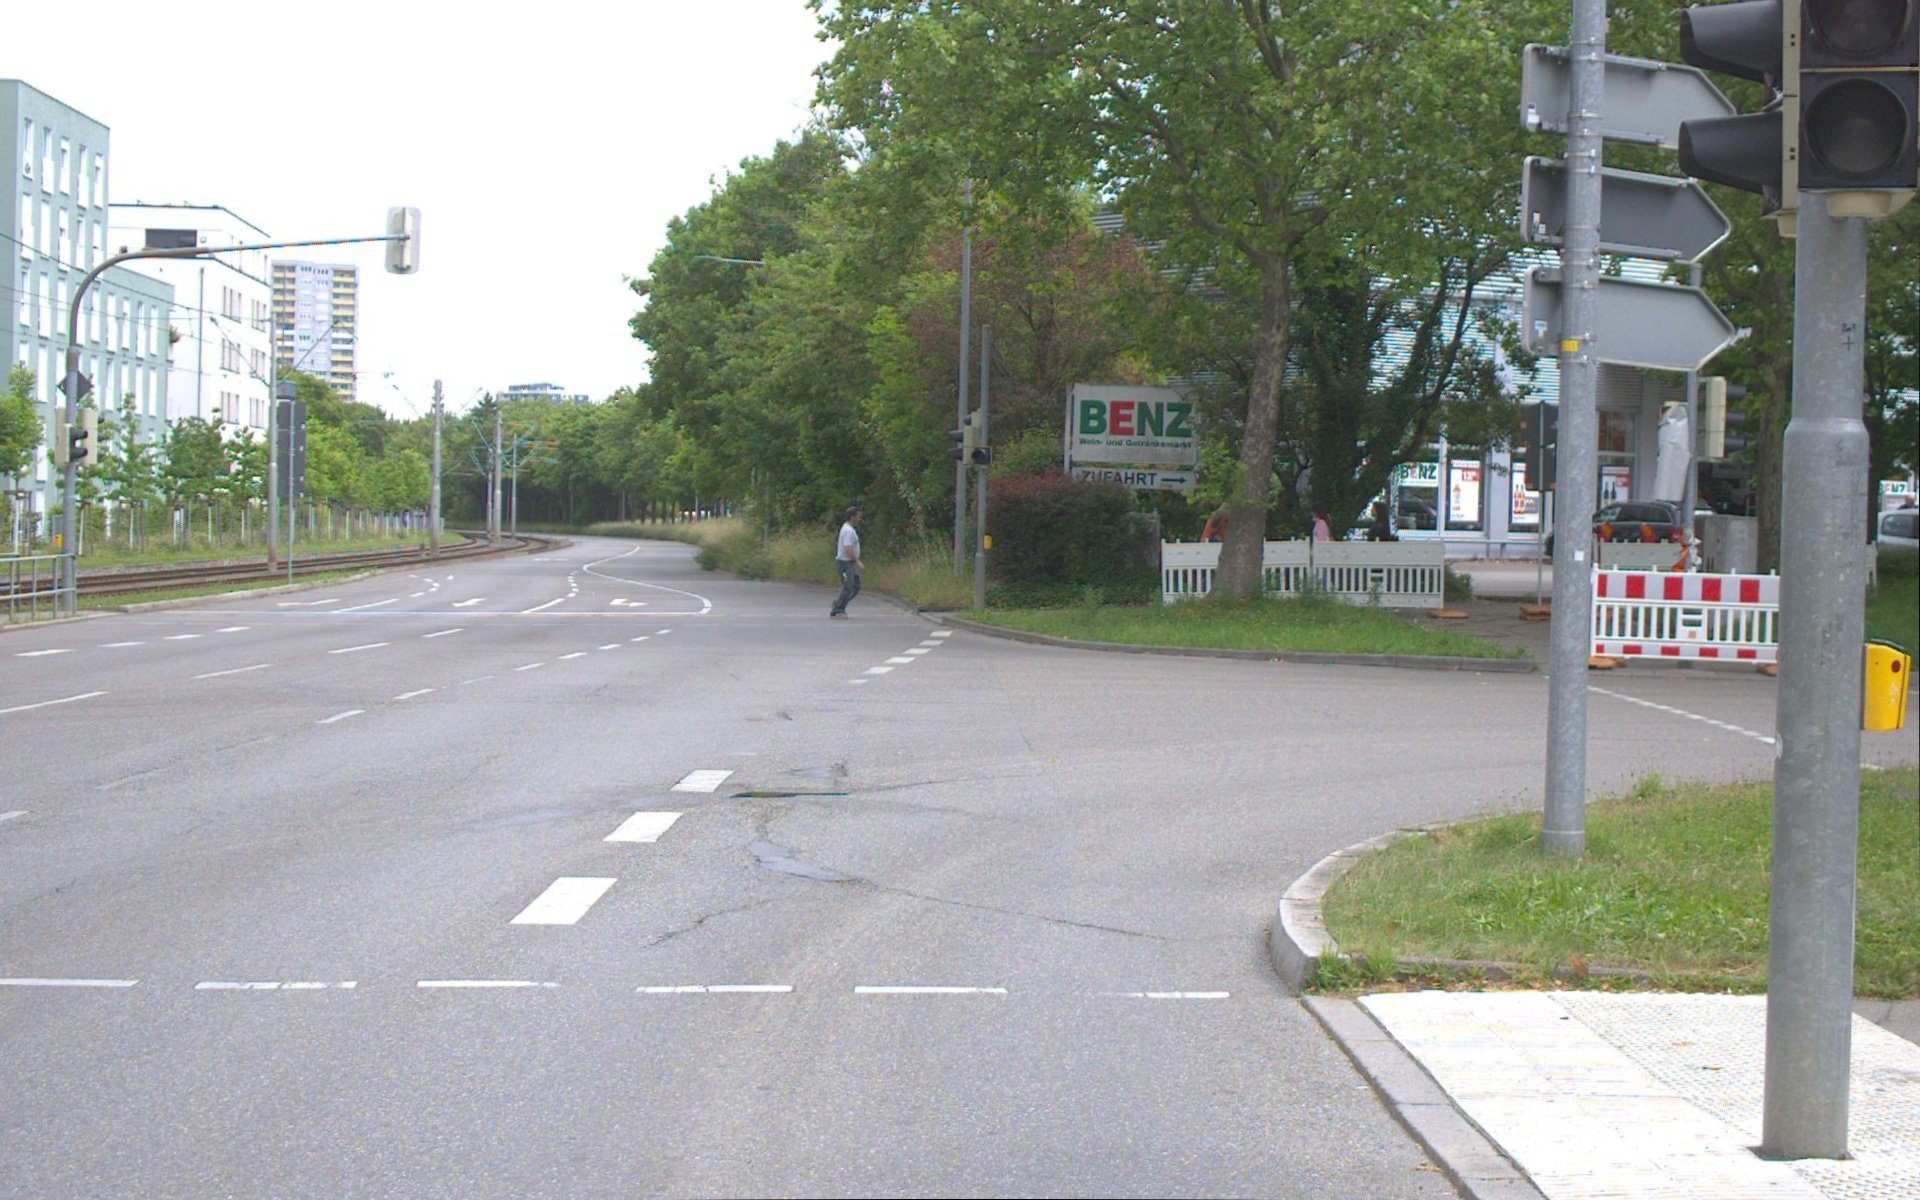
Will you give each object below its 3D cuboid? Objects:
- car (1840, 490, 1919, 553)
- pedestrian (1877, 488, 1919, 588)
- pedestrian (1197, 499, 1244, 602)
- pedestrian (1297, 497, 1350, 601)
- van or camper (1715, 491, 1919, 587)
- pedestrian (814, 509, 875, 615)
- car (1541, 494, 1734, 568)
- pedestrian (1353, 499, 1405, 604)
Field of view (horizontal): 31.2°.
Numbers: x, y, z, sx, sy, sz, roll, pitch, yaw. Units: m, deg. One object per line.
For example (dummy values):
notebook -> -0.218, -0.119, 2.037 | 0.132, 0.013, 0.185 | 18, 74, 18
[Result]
car -> 21.822, -1.786, 78.221 | 1.480, 1.399, 3.409 | 0, 1, -31
pedestrian -> 19.080, -1.247, 69.381 | 0.804, 1.995, 0.853 | 1, 0, -7
pedestrian -> 3.922, -0.747, 51.851 | 0.653, 1.533, 0.773 | 1, 0, 2
pedestrian -> 5.251, -0.730, 49.619 | 0.697, 1.484, 0.688 | 1, 0, 10
van or camper -> 15.664, -1.117, 61.999 | 1.840, 1.678, 4.001 | -1, 2, -28
pedestrian -> -1.749, -0.573, 52.165 | 0.848, 1.581, 0.796 | 1, 0, 1
car -> 14.242, -1.447, 72.513 | 1.728, 1.495, 4.269 | 1, 1, -27
pedestrian -> 6.001, -0.698, 49.201 | 0.697, 1.484, 0.720 | 1, 0, 8
